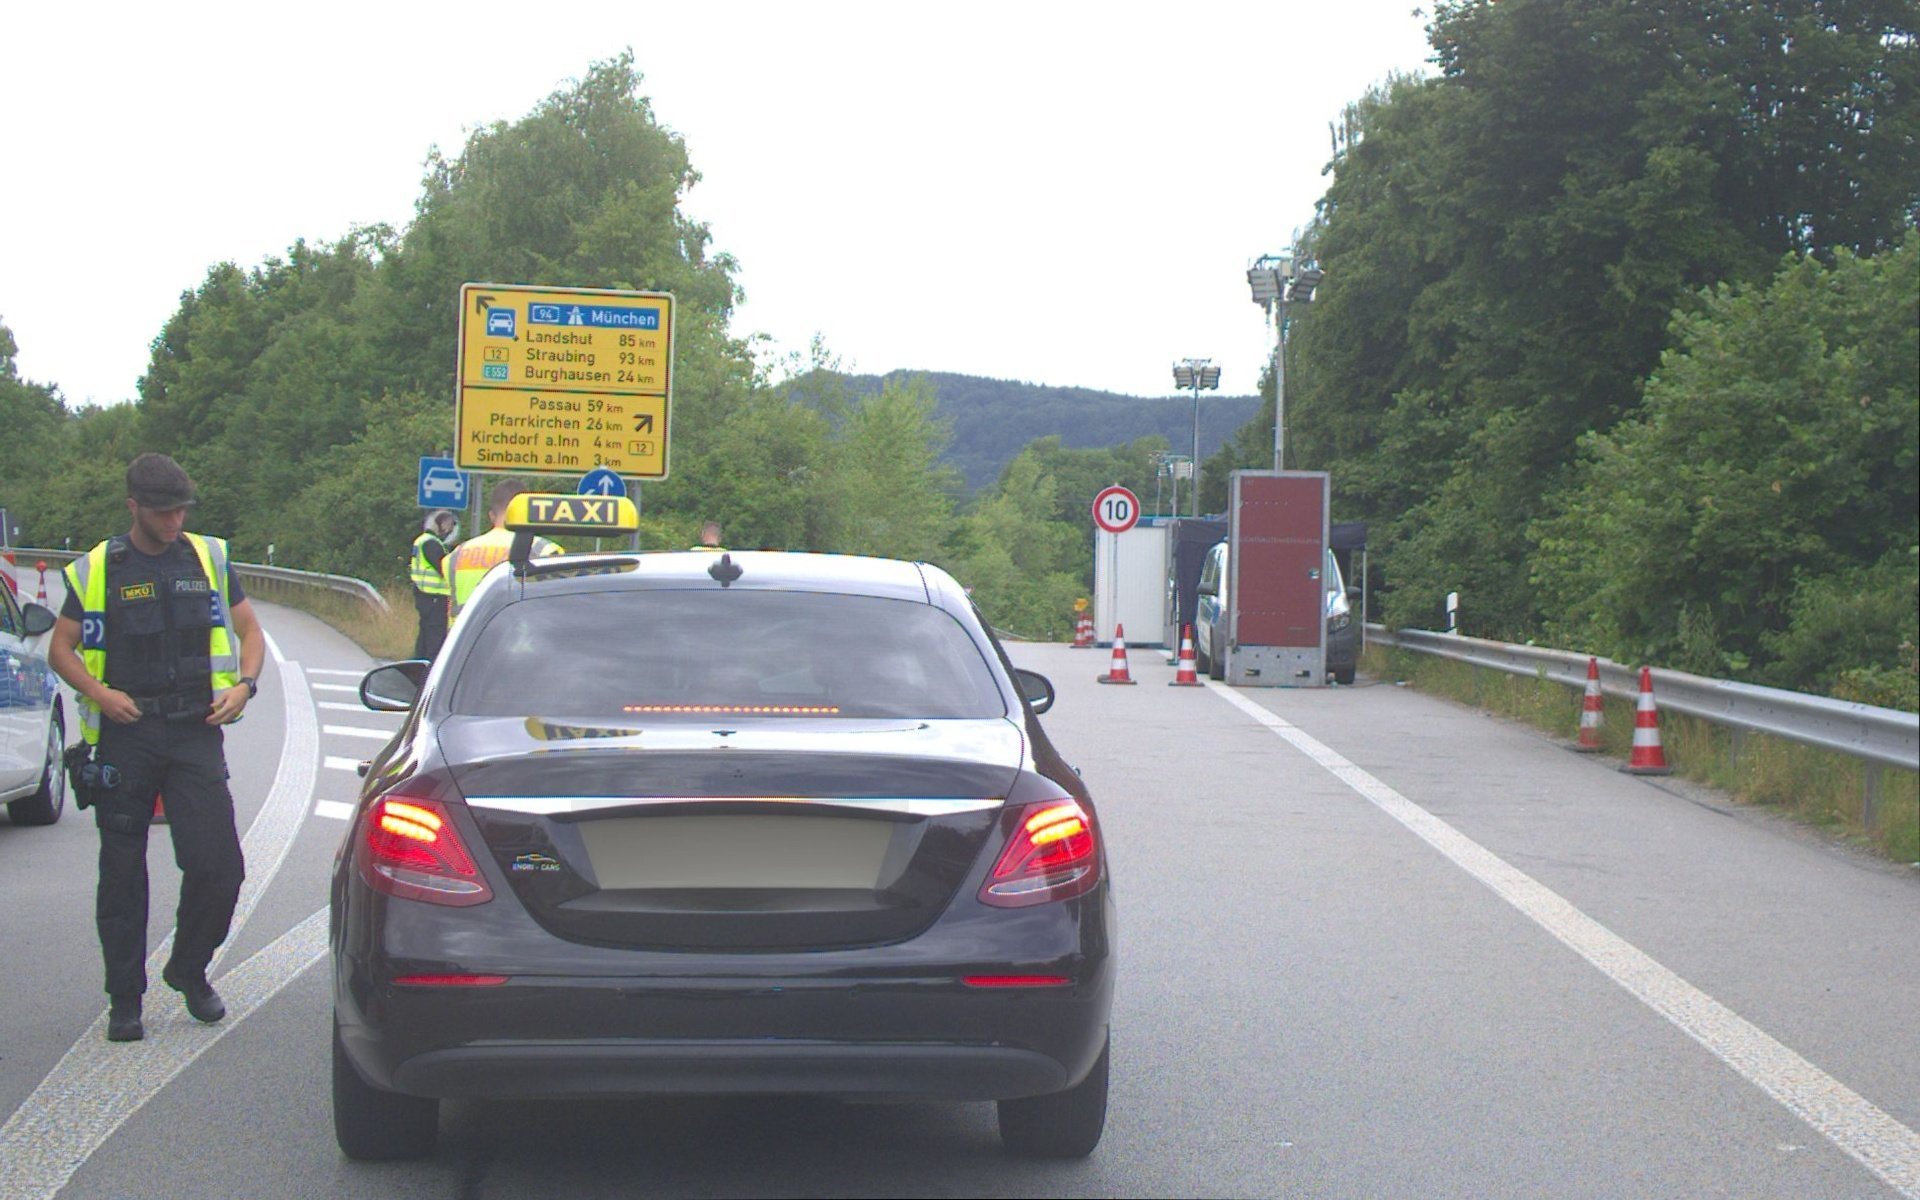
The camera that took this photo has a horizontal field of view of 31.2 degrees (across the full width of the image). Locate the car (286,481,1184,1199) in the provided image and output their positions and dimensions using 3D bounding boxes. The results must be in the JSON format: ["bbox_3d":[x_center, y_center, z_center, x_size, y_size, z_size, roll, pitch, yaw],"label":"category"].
[{"bbox_3d":[-0.672,0.519,9.342,1.855,1.589,4.376,1,1,-6],"label":"car"}]

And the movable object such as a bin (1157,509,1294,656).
[{"bbox_3d":[4.293,-0.309,56.142,1.993,2.272,4.168,1,1,1],"label":"movable object such as a bin"}]

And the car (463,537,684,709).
[{"bbox_3d":[-3.555,0.163,32.239,1.855,1.493,4.257,1,1,-4],"label":"car"}]

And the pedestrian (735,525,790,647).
[{"bbox_3d":[-3.190,-0.228,55.599,0.664,1.954,0.759,0,1,15],"label":"pedestrian"}]

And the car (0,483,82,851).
[{"bbox_3d":[-5.476,0.305,16.349,1.868,1.737,4.009,1,1,-5],"label":"car"}]

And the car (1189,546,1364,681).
[{"bbox_3d":[4.287,0.130,47.303,1.916,1.672,5.083,2,1,1],"label":"car"}]

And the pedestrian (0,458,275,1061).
[{"bbox_3d":[-2.428,0.447,10.226,0.760,1.712,0.818,0,1,-11],"label":"pedestrian"}]

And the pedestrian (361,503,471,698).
[{"bbox_3d":[-5.022,0.000,31.793,0.910,1.763,0.912,1,1,-4],"label":"pedestrian"}]

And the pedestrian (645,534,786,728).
[{"bbox_3d":[-2.185,0.268,30.639,0.908,1.692,0.914,1,1,-32],"label":"pedestrian"}]

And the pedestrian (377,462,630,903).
[{"bbox_3d":[-1.947,0.334,14.731,0.813,1.824,0.809,0,1,16],"label":"pedestrian"}]
